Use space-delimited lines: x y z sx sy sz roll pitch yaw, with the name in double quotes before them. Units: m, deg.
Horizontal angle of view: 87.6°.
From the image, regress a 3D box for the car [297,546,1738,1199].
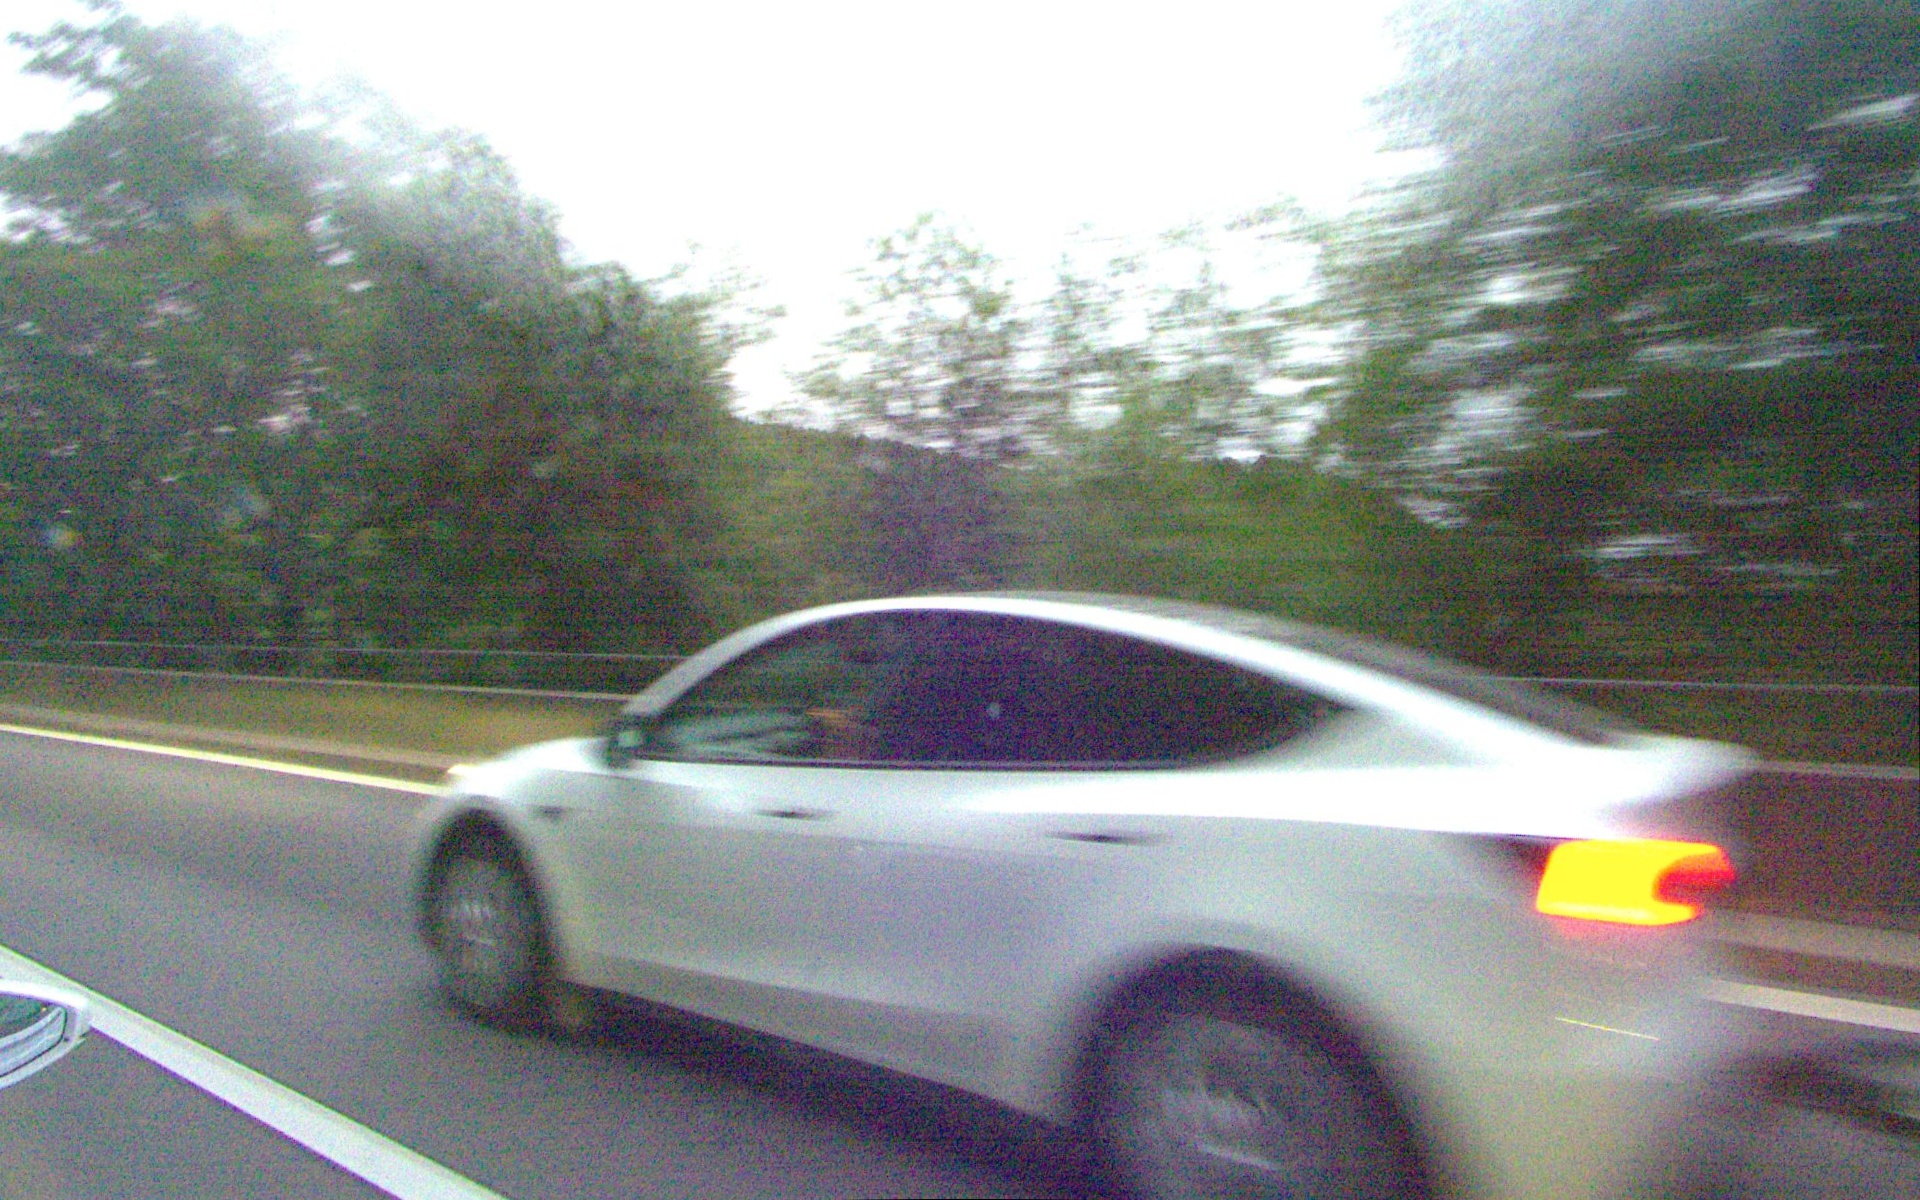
"car" -0.176 0.770 3.918 4.789 1.635 1.993 0 -2 28
